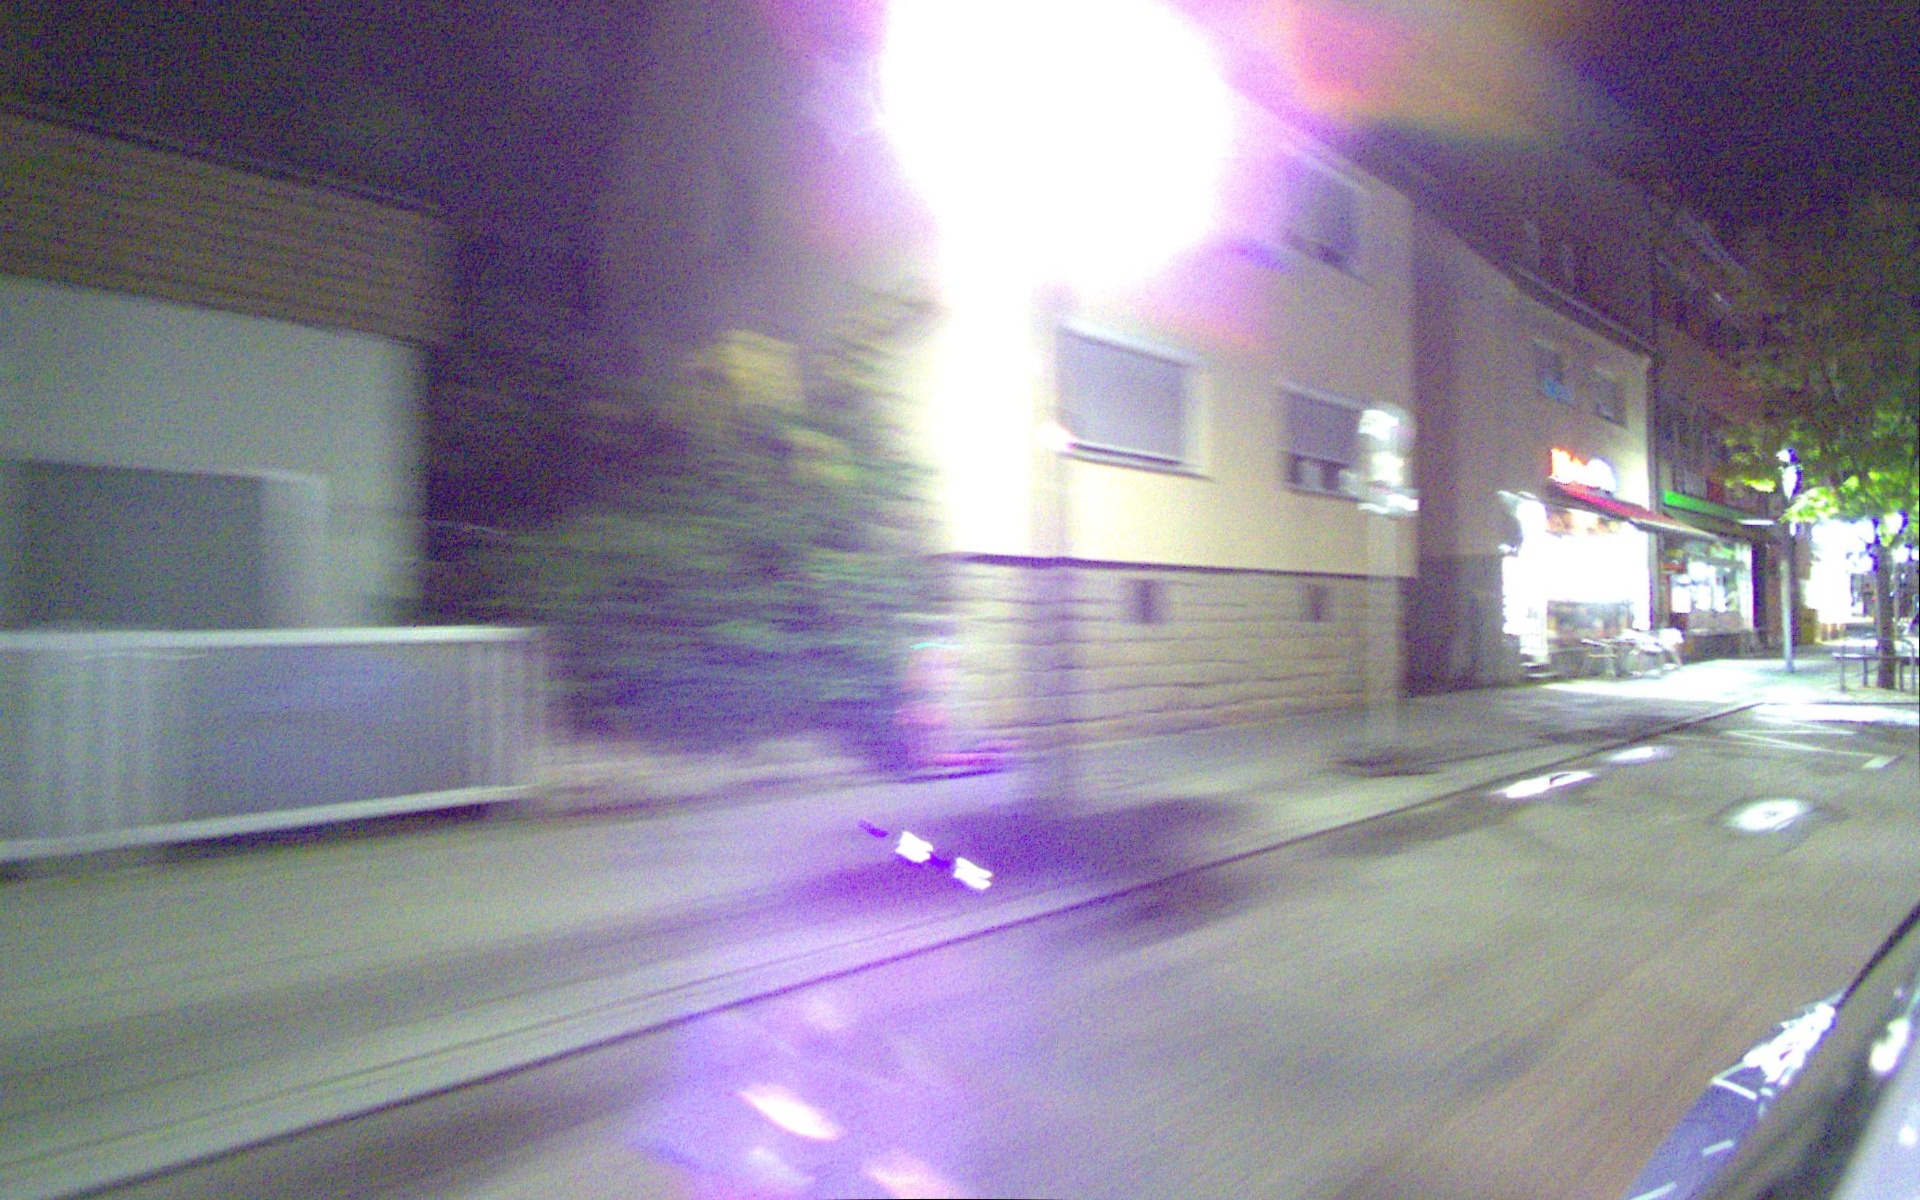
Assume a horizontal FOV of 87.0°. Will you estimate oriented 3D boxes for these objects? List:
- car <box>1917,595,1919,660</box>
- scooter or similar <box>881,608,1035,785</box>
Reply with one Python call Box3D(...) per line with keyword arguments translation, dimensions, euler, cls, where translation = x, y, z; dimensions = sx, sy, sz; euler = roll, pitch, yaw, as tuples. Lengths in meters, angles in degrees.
Box3D(translation=(23.837, 0.624, 23.900), dimensions=(1.734, 1.459, 4.424), euler=(0, 0, 44), cls="car")
Box3D(translation=(0.007, 0.725, 8.138), dimensions=(1.282, 1.293, 0.374), euler=(-1, 0, -40), cls="scooter or similar")
